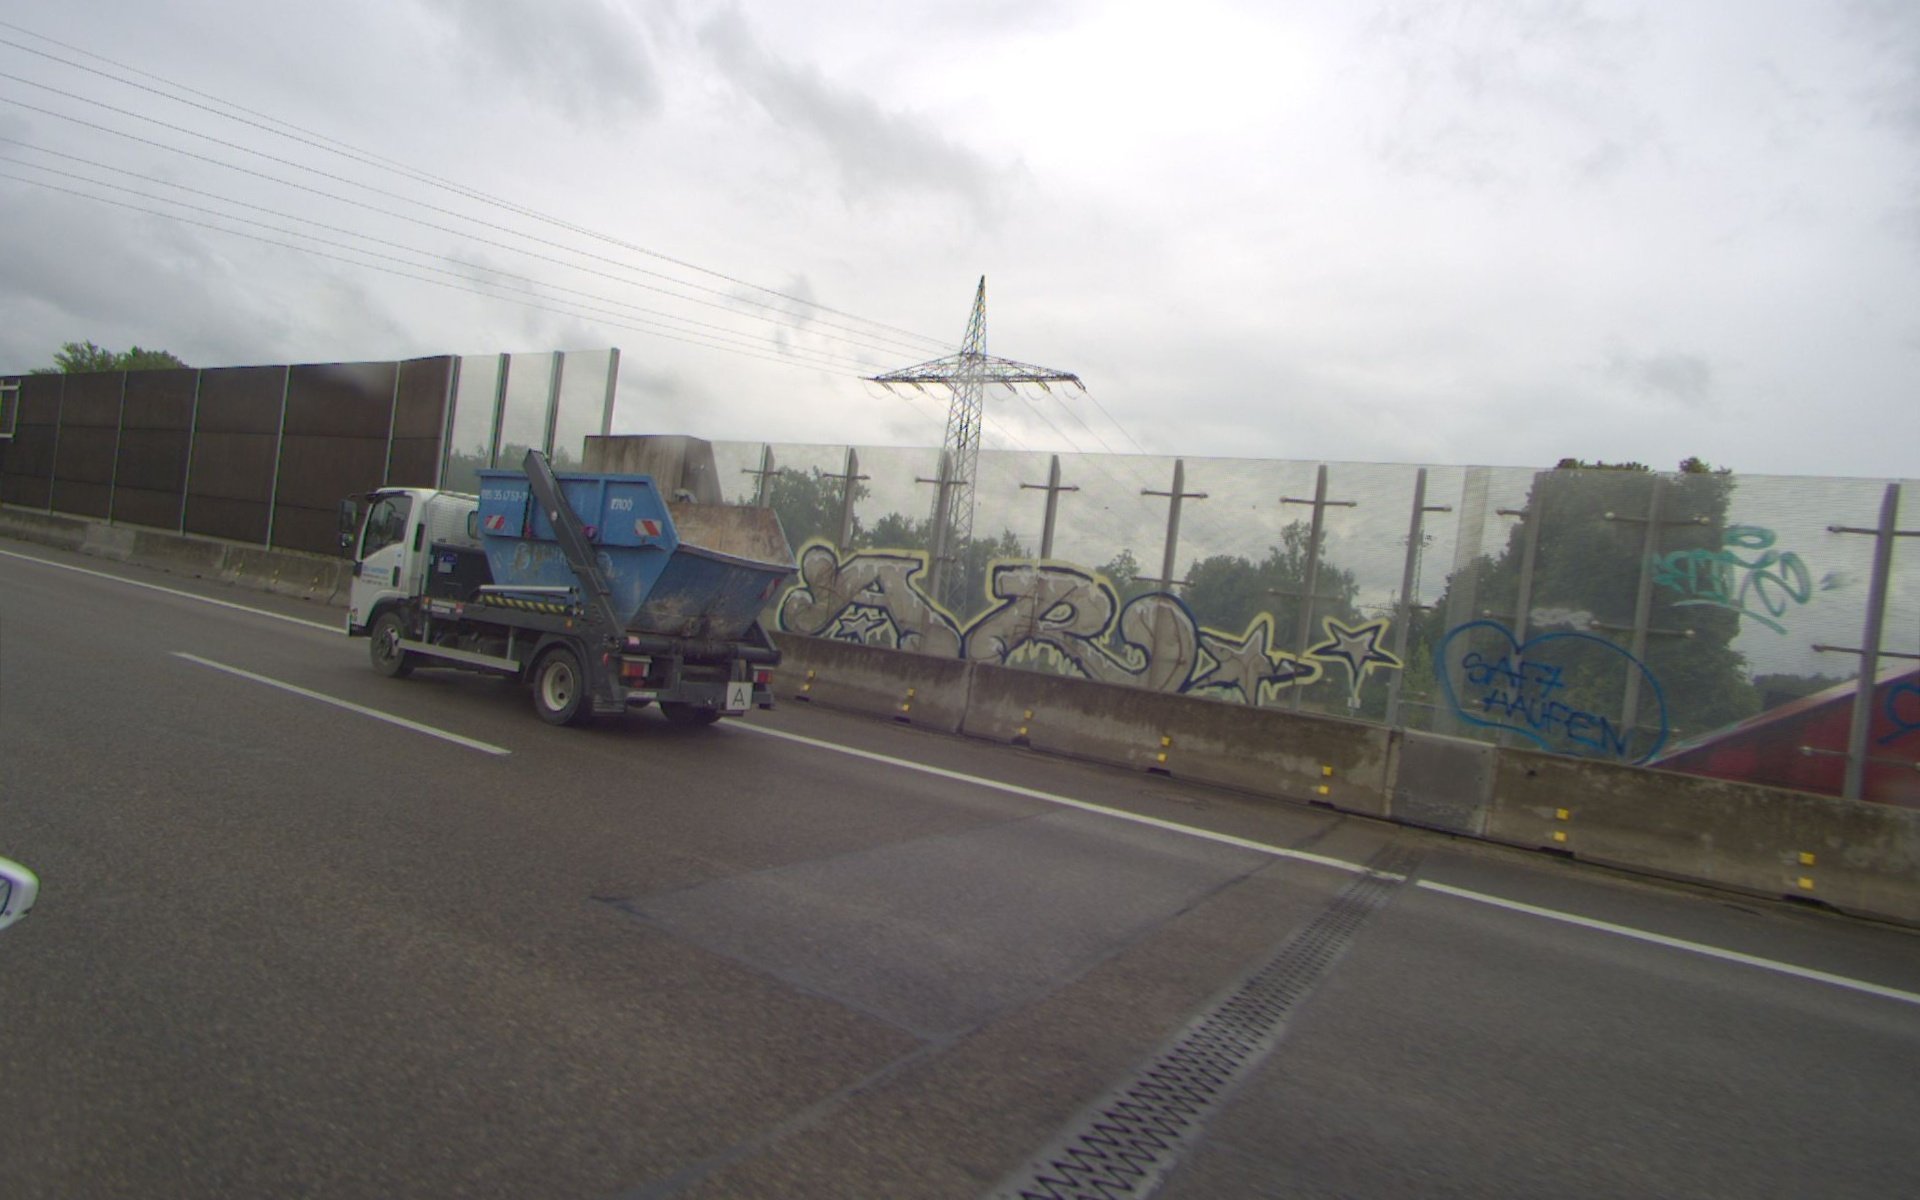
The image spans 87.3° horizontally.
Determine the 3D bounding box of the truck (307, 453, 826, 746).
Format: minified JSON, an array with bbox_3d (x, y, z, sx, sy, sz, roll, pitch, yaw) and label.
[{"bbox_3d":[-4.745,-0.135,11.653,6.045,2.536,2.364,7,-1,34],"label":"truck"}]
